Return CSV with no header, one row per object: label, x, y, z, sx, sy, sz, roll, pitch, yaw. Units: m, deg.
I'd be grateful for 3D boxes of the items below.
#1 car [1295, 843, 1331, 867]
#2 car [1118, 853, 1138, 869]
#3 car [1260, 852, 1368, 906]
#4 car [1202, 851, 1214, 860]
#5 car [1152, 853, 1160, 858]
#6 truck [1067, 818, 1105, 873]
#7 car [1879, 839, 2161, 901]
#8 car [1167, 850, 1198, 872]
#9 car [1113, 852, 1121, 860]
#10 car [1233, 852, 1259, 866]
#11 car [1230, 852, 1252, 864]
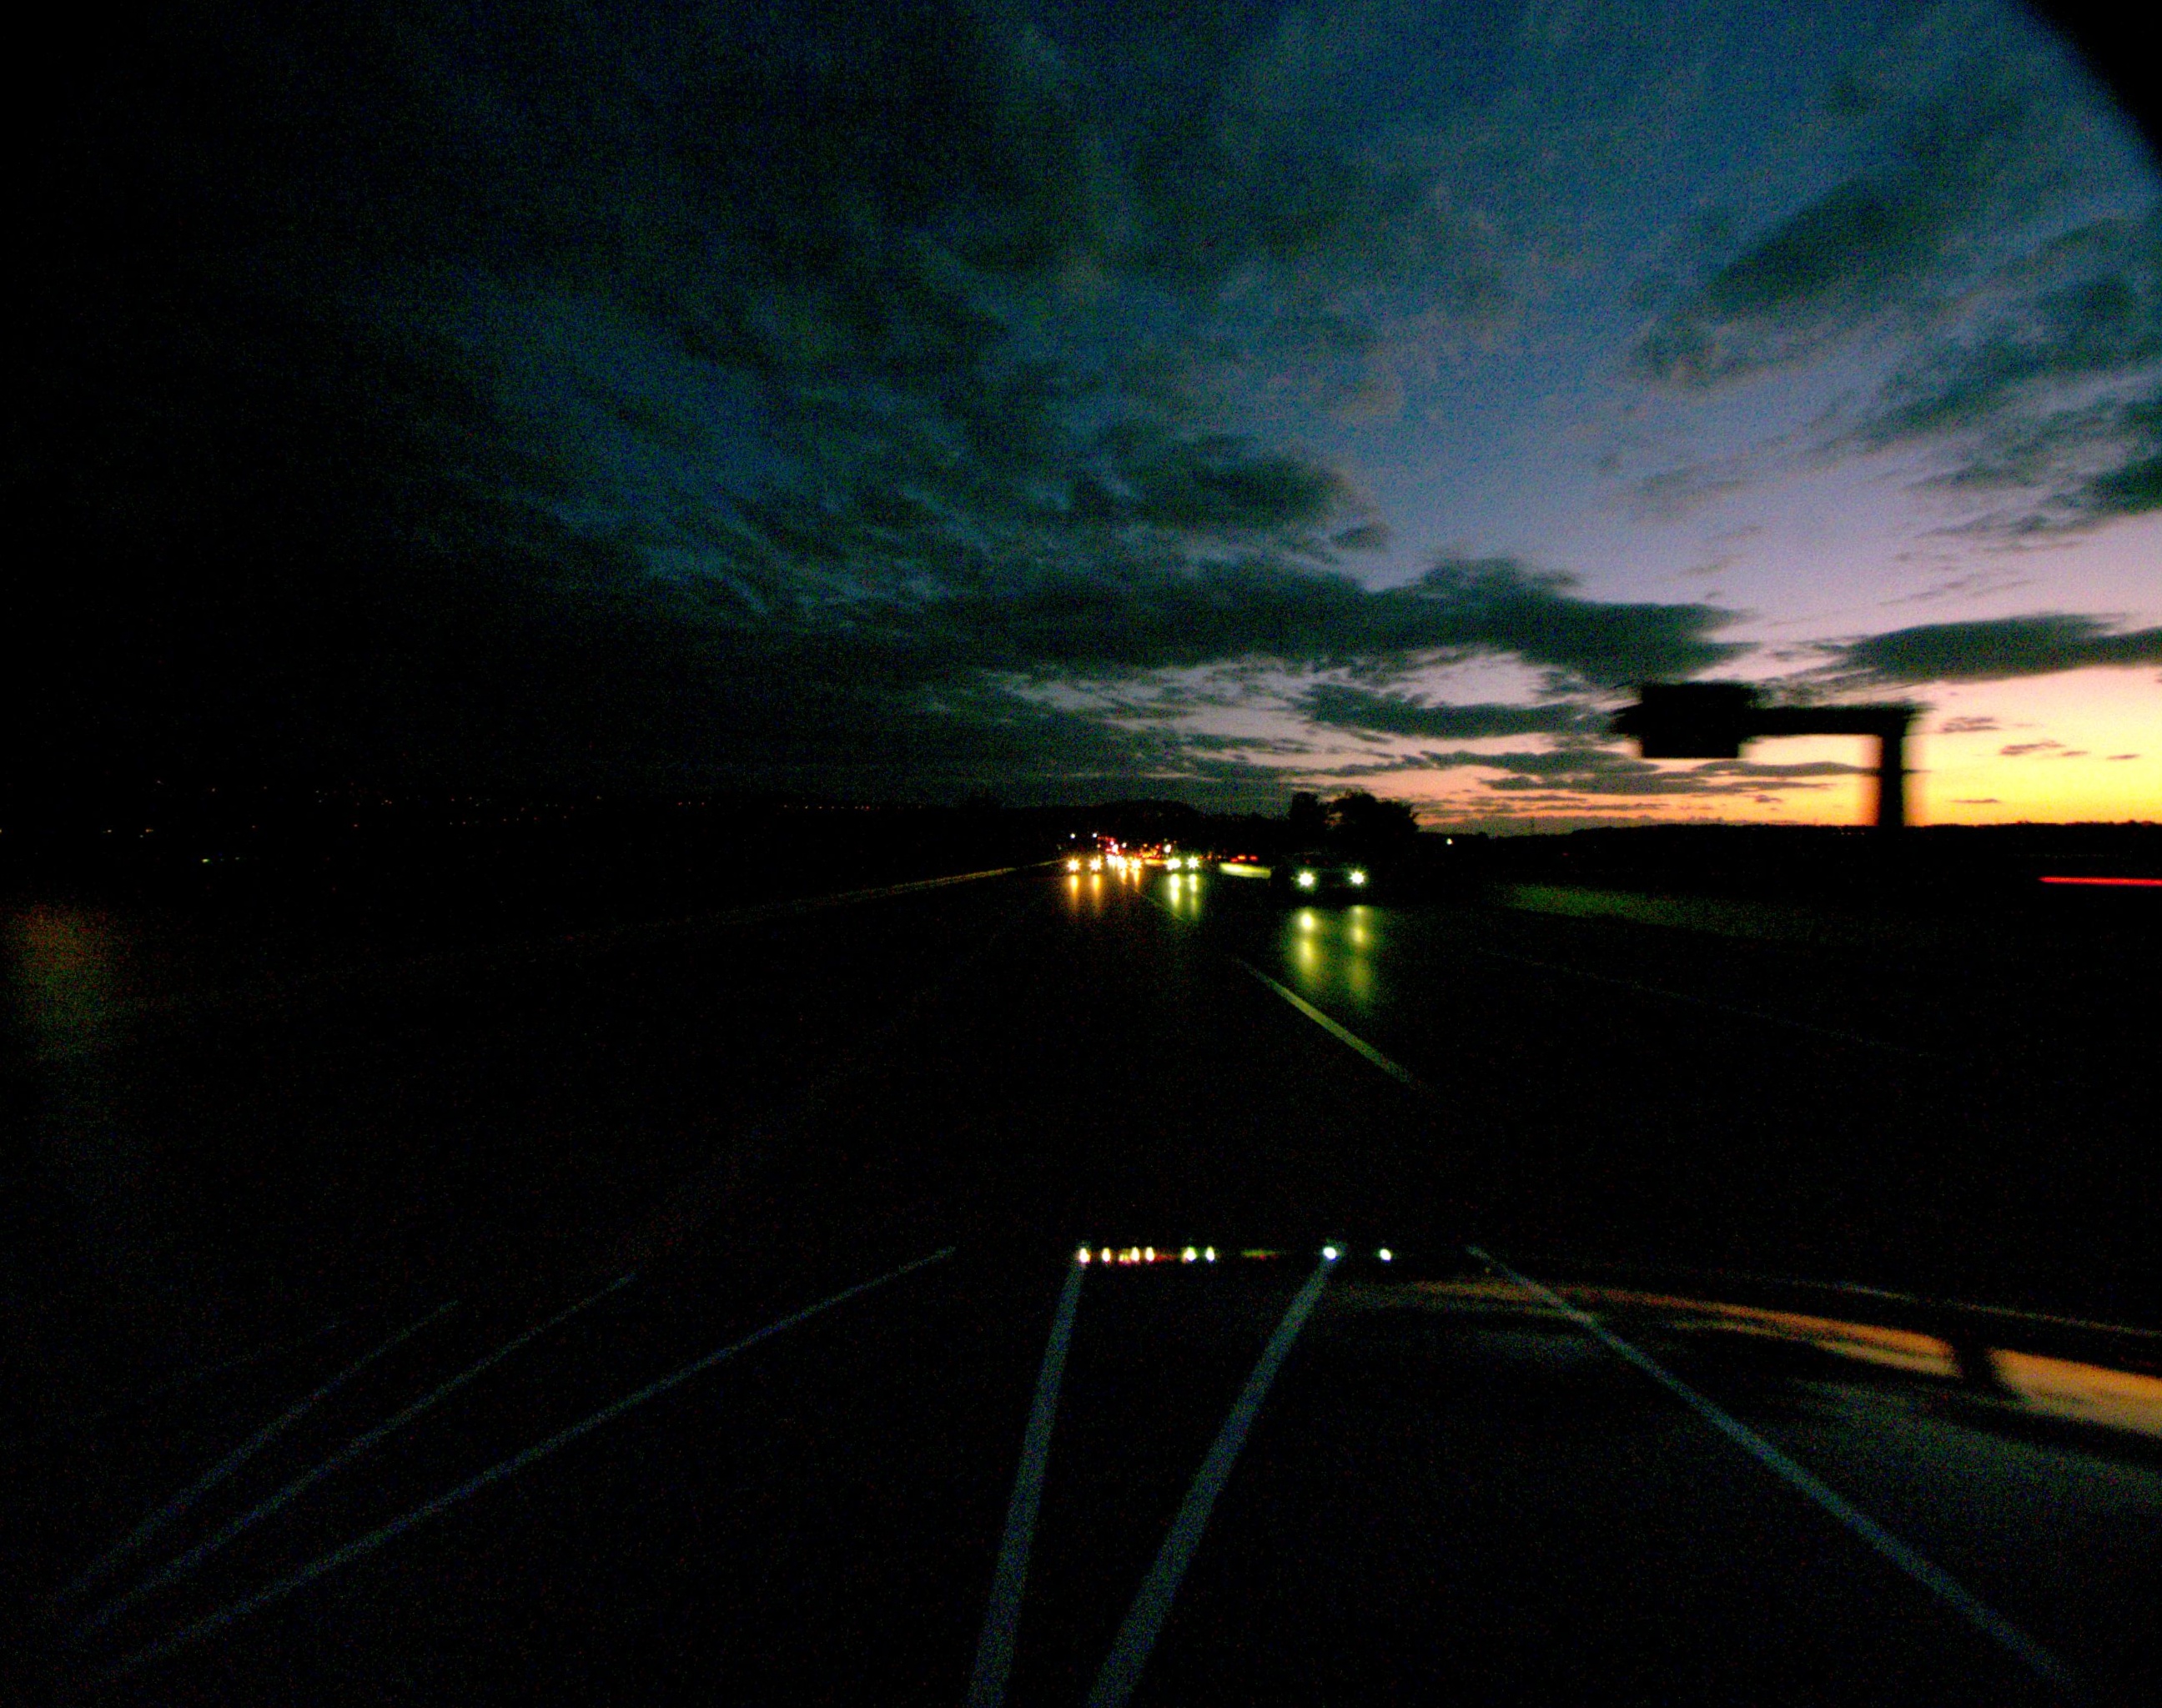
car,24.426,0.066,80.156,1.998,2.374,5.835,-2,1,1
car,4.917,0.701,79.319,1.802,1.531,4.159,-2,1,1
car,7.341,0.725,24.595,1.819,1.429,5.394,-2,1,0
car,25.783,0.228,153.898,1.664,1.634,4.793,-2,1,1
car,21.883,0.414,220.596,1.864,1.445,4.274,-2,1,1
truck,0.496,-0.686,70.935,3.012,4.570,12.578,-2,0,1
car,23.436,0.335,19.218,1.740,1.312,4.551,-2,1,1
car,8.262,0.557,62.277,1.819,1.638,4.856,-2,1,0
car,9.297,0.444,195.597,1.862,1.826,3.999,-2,1,1
car,16.682,0.485,76.925,1.737,1.362,3.900,-2,1,1
car,21.145,0.557,100.424,1.998,1.404,4.658,-2,1,1
